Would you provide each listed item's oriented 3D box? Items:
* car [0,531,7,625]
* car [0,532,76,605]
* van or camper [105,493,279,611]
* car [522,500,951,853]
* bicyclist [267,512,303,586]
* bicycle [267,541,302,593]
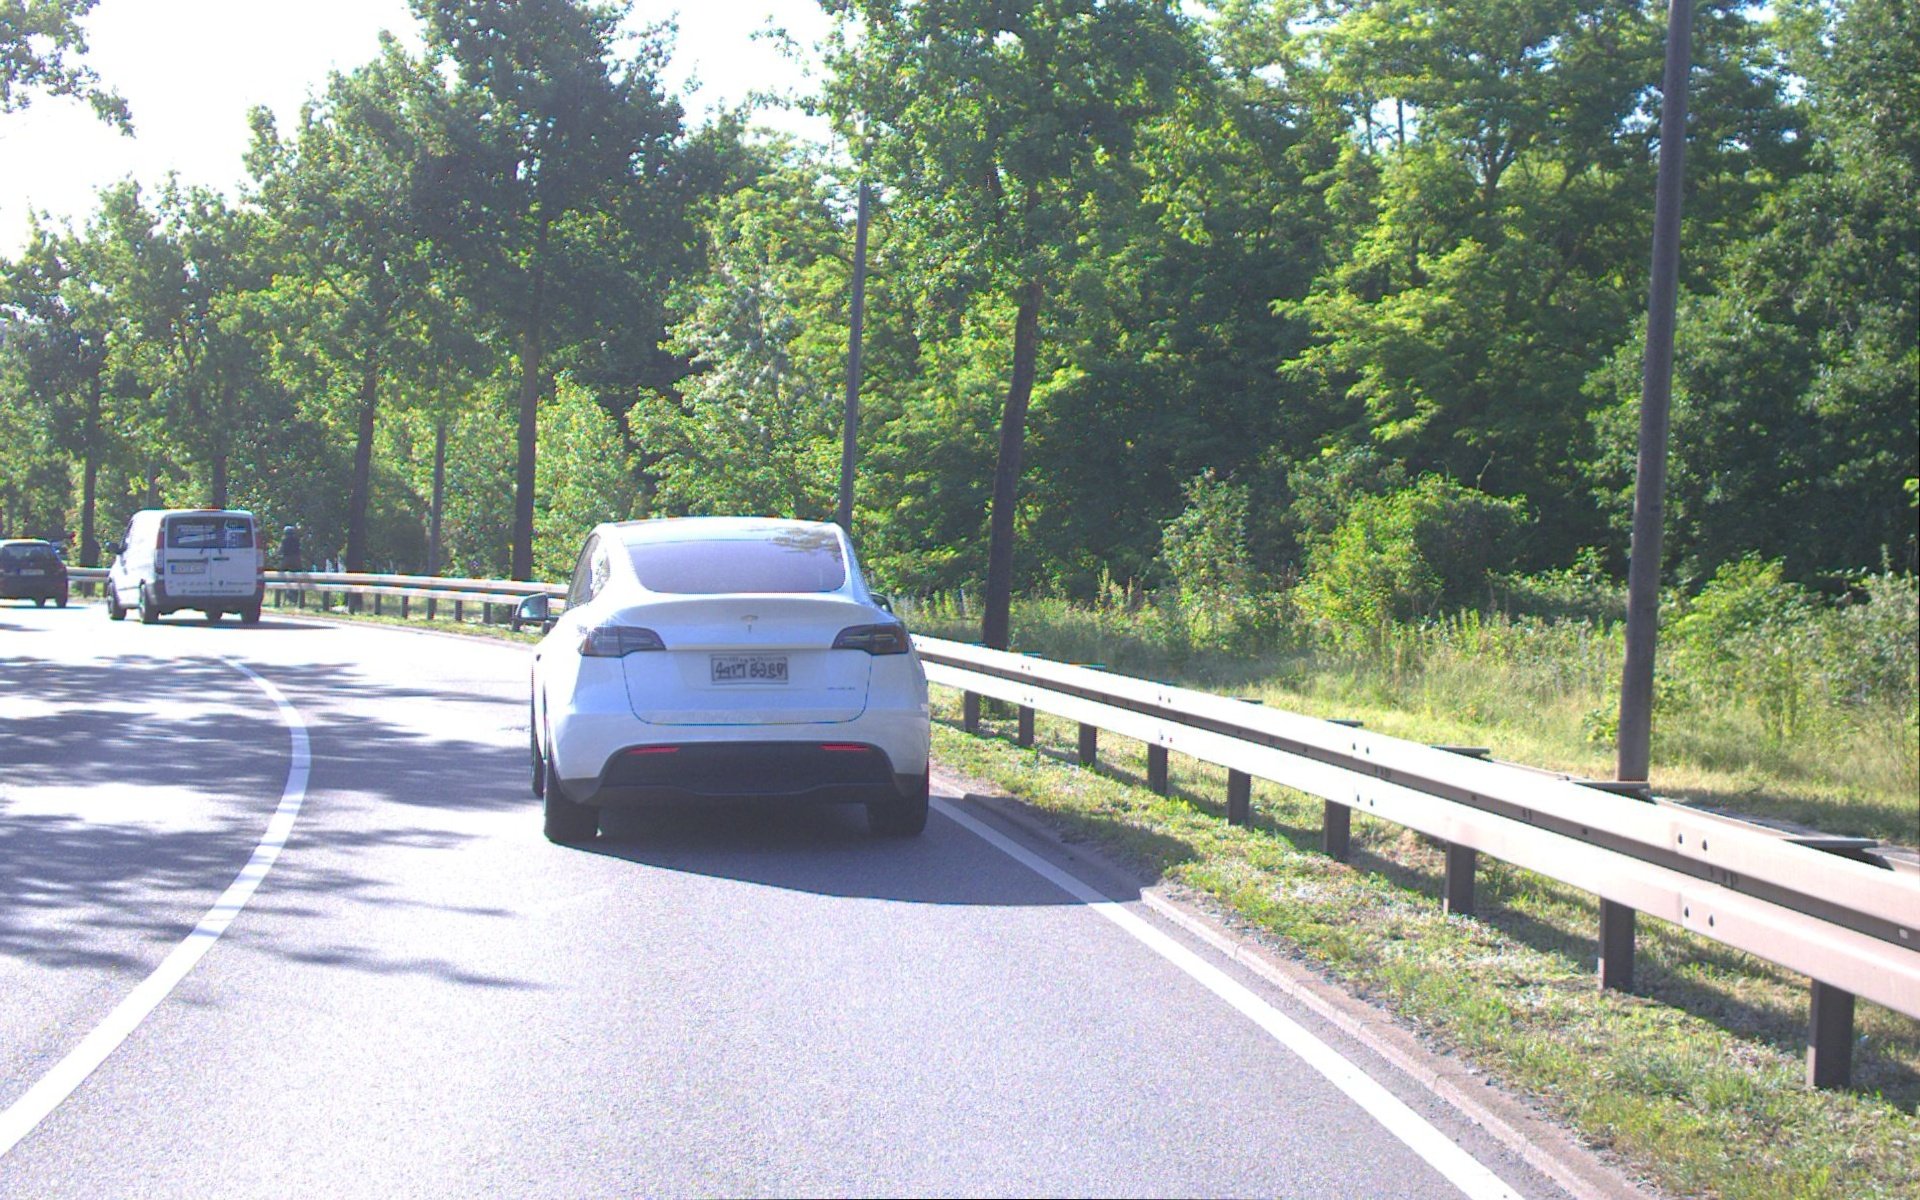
[{"bbox_3d":[-16.810,-0.397,56.782,1.694,1.513,3.982,0,1,-21],"label":"car"},{"bbox_3d":[-19.843,-0.653,72.928,1.604,1.430,3.679,2,-1,-21],"label":"car"},{"bbox_3d":[-12.928,-0.804,57.653,1.958,1.877,4.881,0,1,-23],"label":"van or camper"},{"bbox_3d":[-1.315,0.332,18.271,1.913,1.635,4.411,1,1,-8],"label":"car"},{"bbox_3d":[-14.633,-1.100,74.521,0.707,1.573,1.005,1,-1,-12],"label":"bicyclist"},{"bbox_3d":[-14.663,-0.707,74.634,0.700,1.071,1.921,1,-1,-12],"label":"bicycle"}]
